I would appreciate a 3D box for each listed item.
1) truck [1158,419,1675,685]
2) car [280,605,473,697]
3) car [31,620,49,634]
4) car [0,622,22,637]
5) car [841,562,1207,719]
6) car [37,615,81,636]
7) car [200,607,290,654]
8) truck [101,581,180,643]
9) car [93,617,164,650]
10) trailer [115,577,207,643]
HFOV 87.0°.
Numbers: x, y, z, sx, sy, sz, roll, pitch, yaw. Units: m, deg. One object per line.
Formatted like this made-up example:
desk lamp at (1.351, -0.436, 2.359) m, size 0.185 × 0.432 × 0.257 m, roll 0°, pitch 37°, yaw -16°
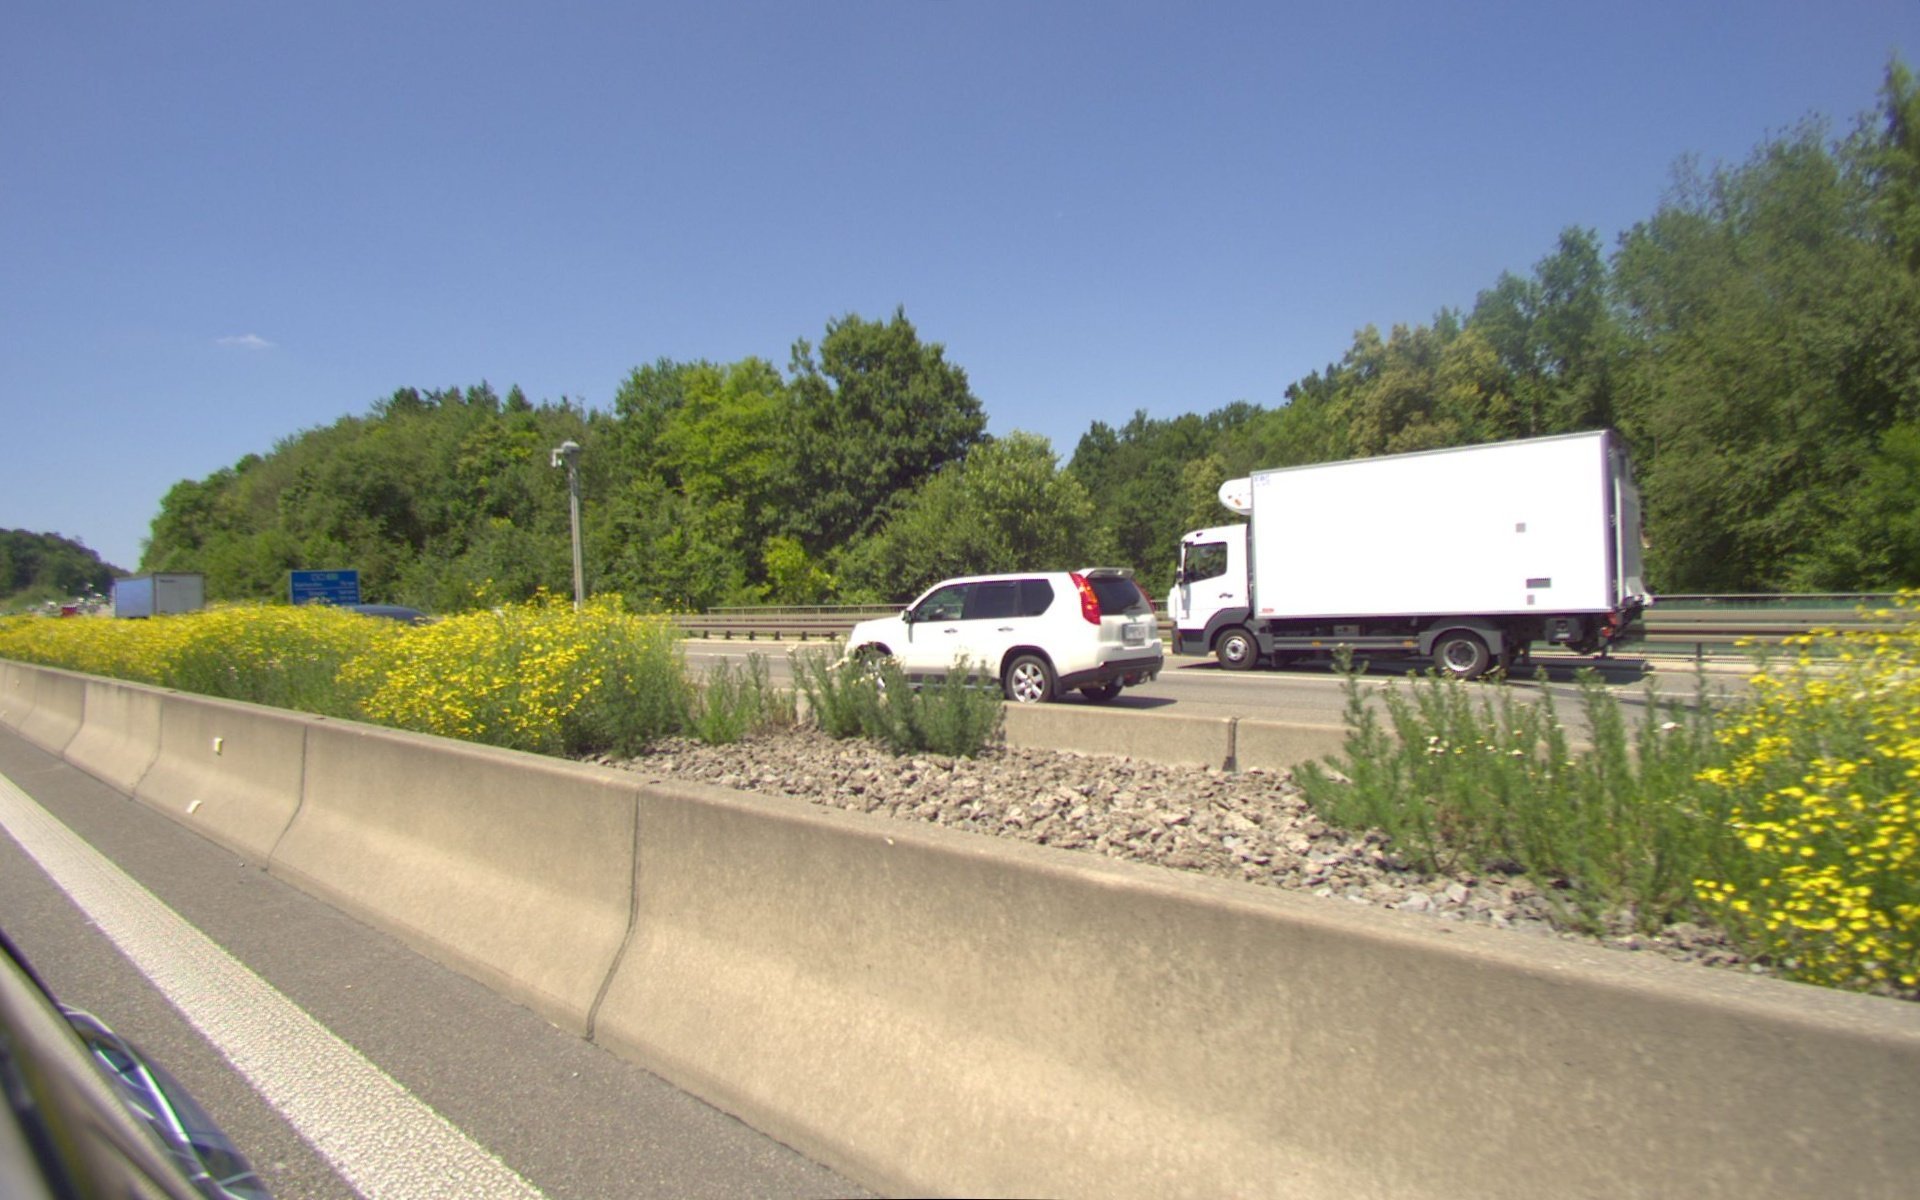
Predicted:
truck at (7.216, -0.588, 16.751) m, size 7.309 × 3.501 × 2.708 m, roll -1°, pitch 0°, yaw 40°
car at (-10.484, 0.852, 18.072) m, size 4.076 × 1.430 × 1.786 m, roll -1°, pitch 0°, yaw 42°
car at (-181.427, 5.285, 199.581) m, size 5.976 × 2.643 × 2.133 m, roll -1°, pitch -1°, yaw 43°
car at (-95.806, 2.964, 101.719) m, size 3.998 × 1.500 × 1.786 m, roll -2°, pitch 0°, yaw 41°
car at (0.701, 0.469, 13.294) m, size 4.528 × 1.714 × 1.972 m, roll -1°, pitch 0°, yaw 42°
car at (-69.913, 1.968, 78.519) m, size 4.637 × 1.573 × 1.973 m, roll -1°, pitch 0°, yaw 41°
car at (-25.718, 1.085, 36.350) m, size 4.155 × 1.556 × 1.767 m, roll -2°, pitch 0°, yaw 42°
truck at (-55.048, 0.831, 67.905) m, size 8.409 × 3.886 × 2.719 m, roll -2°, pitch 0°, yaw 41°
car at (-42.869, 1.702, 52.159) m, size 4.797 × 1.541 × 2.115 m, roll -1°, pitch 0°, yaw 42°
trailer at (-50.711, 0.703, 64.080) m, size 10.165 × 3.886 × 2.752 m, roll -2°, pitch 0°, yaw 41°
